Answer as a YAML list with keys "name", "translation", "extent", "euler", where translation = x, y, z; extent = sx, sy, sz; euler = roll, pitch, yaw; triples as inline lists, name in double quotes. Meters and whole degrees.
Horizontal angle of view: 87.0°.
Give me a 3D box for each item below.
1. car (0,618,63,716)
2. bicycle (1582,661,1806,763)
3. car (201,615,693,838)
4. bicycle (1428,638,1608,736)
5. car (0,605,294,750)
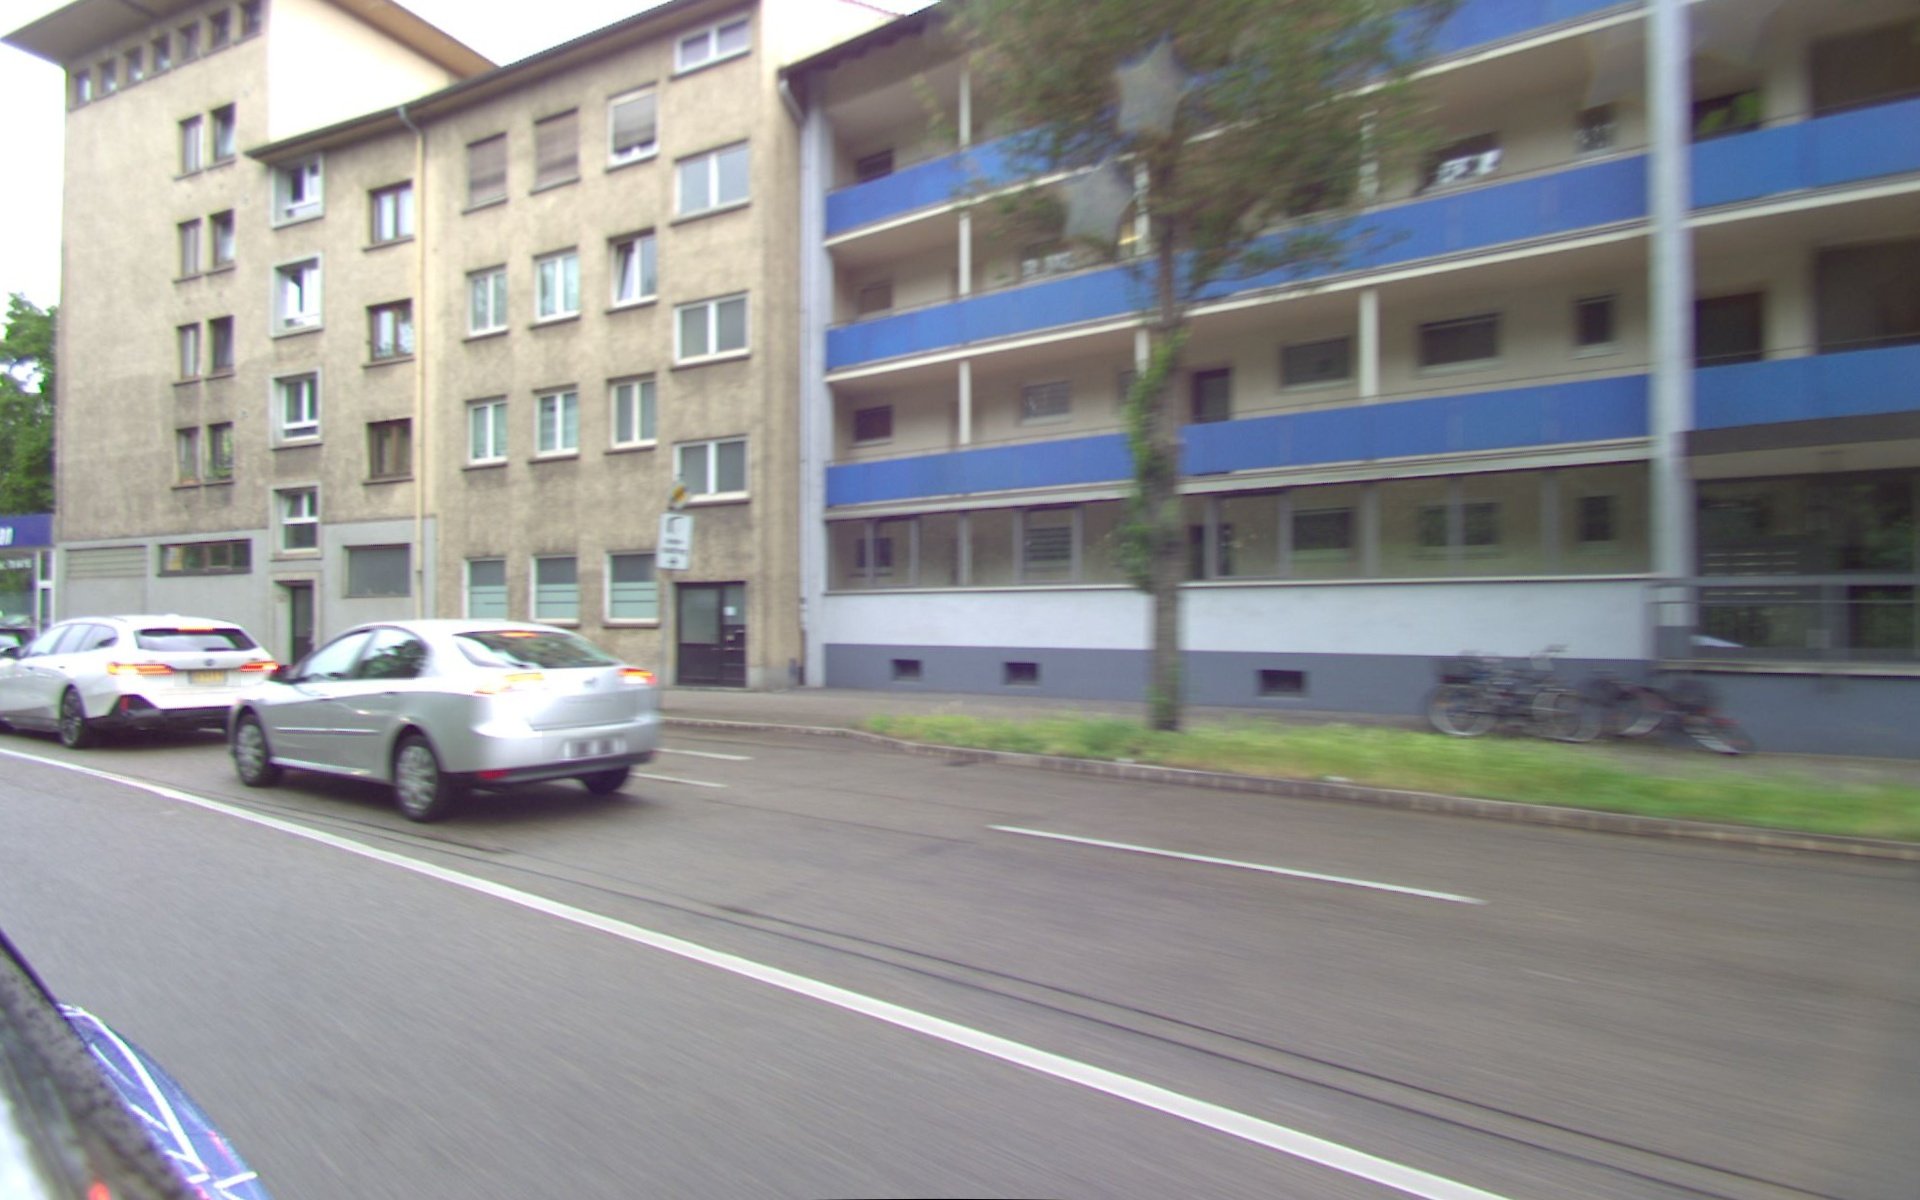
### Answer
- name: "car"
  translation: [-16.079, 1.021, 15.985]
  extent: [3.803, 1.458, 1.669]
  euler: [-1, -2, 29]
- name: "bicycle"
  translation: [7.198, 1.071, 10.029]
  extent: [1.736, 0.832, 0.662]
  euler: [-1, 2, 34]
- name: "car"
  translation: [-4.455, 0.860, 8.536]
  extent: [4.524, 1.436, 1.738]
  euler: [-1, -1, 34]
- name: "bicycle"
  translation: [6.271, 0.958, 11.477]
  extent: [1.724, 1.031, 0.609]
  euler: [-1, -1, 25]
- name: "car"
  translation: [-10.667, 0.879, 12.791]
  extent: [5.011, 1.528, 1.806]
  euler: [-1, -2, 32]
